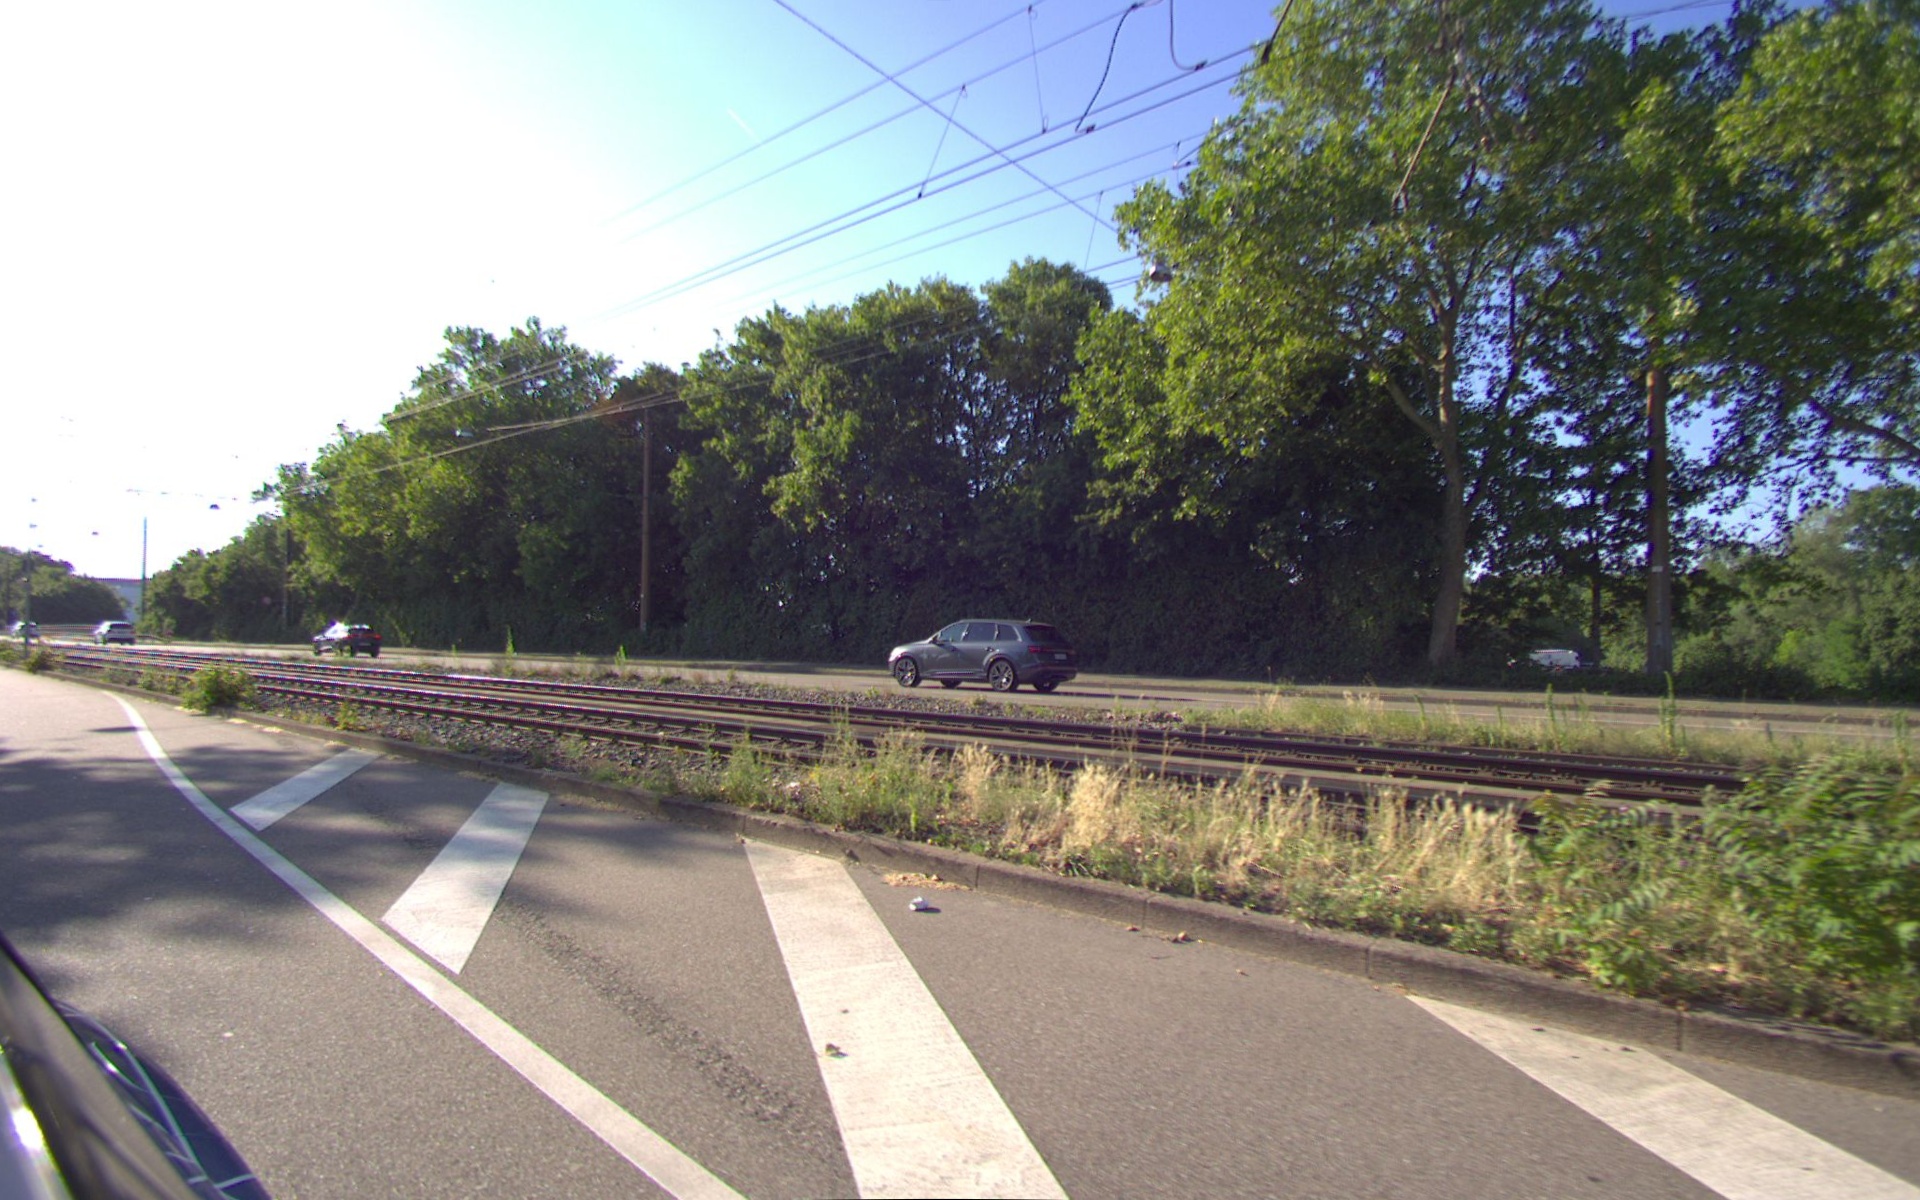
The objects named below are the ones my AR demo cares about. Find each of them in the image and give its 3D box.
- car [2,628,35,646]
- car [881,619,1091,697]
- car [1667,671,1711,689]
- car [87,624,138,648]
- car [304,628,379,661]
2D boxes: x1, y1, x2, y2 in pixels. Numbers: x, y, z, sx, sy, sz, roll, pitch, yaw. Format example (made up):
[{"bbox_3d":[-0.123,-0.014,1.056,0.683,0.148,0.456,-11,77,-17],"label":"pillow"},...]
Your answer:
[{"bbox_3d":[-99.129,3.861,106.538,4.926,1.747,1.828,-1,-4,39],"label":"car"},{"bbox_3d":[0.546,1.362,24.468,4.935,1.707,1.880,-1,-4,39],"label":"car"},{"bbox_3d":[68.263,7.479,94.852,1.640,1.537,4.114,3,-4,9],"label":"car"},{"bbox_3d":[-65.415,2.765,78.077,4.938,1.720,1.943,-1,-4,38],"label":"car"},{"bbox_3d":[-29.986,2.143,49.049,4.342,1.479,1.694,-1,-4,39],"label":"car"}]
